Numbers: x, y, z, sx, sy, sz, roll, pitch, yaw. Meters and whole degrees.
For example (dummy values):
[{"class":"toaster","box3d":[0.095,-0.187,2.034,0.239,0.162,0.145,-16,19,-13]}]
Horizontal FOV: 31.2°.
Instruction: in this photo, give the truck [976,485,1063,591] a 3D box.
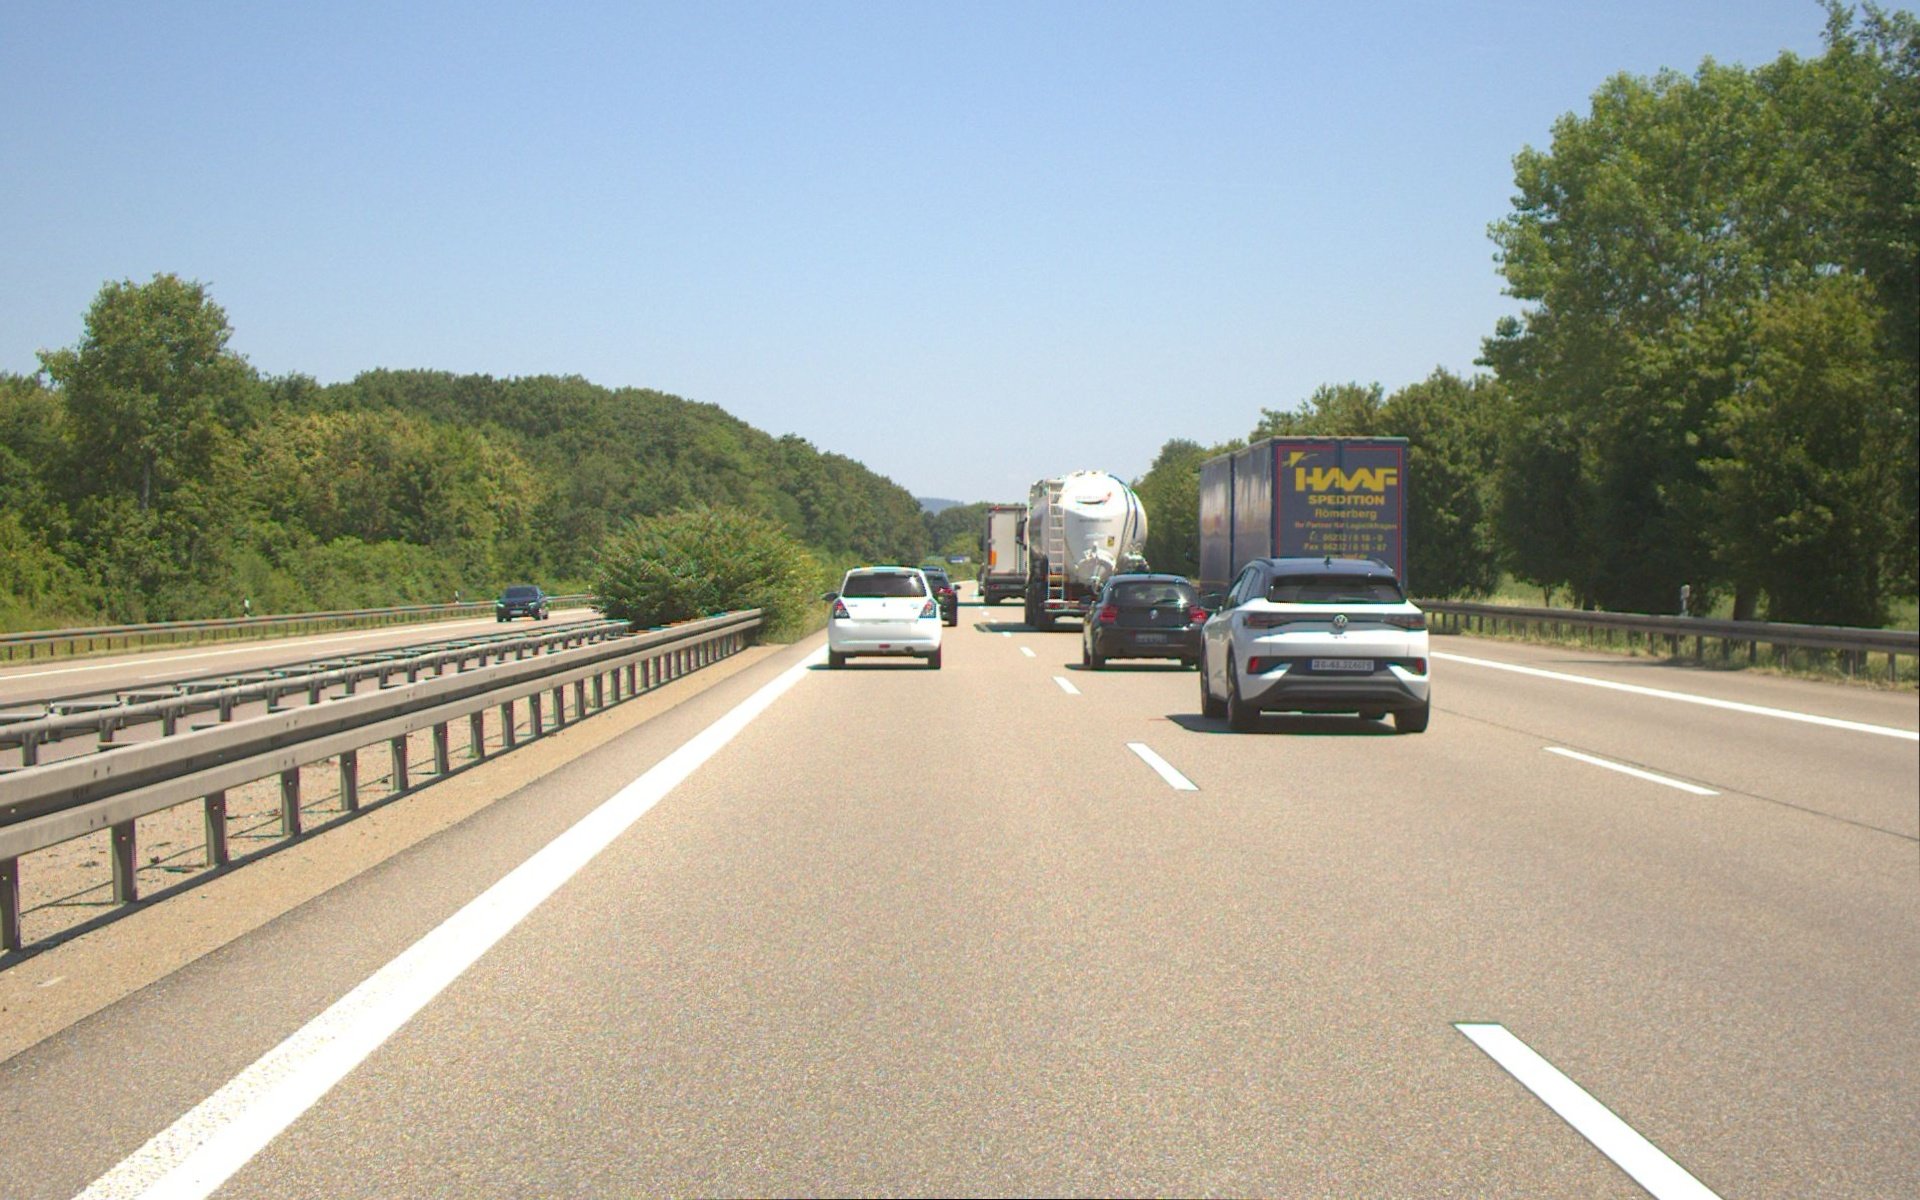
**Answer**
[{"class":"truck","box3d":[2.426,-2.584,144.629,3.394,4.199,12.083,1,1,0]}]

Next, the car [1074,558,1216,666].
[{"class":"car","box3d":[2.748,0.153,51.739,1.850,1.518,3.957,1,1,-1]}]

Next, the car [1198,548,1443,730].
[{"class":"car","box3d":[3.374,0.320,32.951,1.802,1.597,4.381,1,1,-1]}]

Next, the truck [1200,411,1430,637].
[{"class":"truck","box3d":[7.098,-1.505,71.202,3.109,4.124,15.511,1,1,0]}]

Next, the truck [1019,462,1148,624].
[{"class":"truck","box3d":[3.202,-1.490,90.995,2.912,4.065,7.196,1,1,-1]}]

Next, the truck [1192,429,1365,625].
[{"class":"truck","box3d":[7.072,-1.611,77.436,3.109,4.124,8.056,1,1,0]}]

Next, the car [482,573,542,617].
[{"class":"car","box3d":[-18.581,-0.216,142.716,1.924,1.711,4.288,-1,1,0]}]

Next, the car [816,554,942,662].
[{"class":"car","box3d":[-1.223,0.092,51.813,1.799,1.546,3.610,1,1,-1]}]

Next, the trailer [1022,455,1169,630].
[{"class":"trailer","box3d":[3.289,-1.432,86.696,2.911,4.055,12.419,1,1,-1]}]

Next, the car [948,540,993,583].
[{"class":"car","box3d":[0.602,-2.184,194.656,2.475,2.346,5.181,1,1,0]}]
